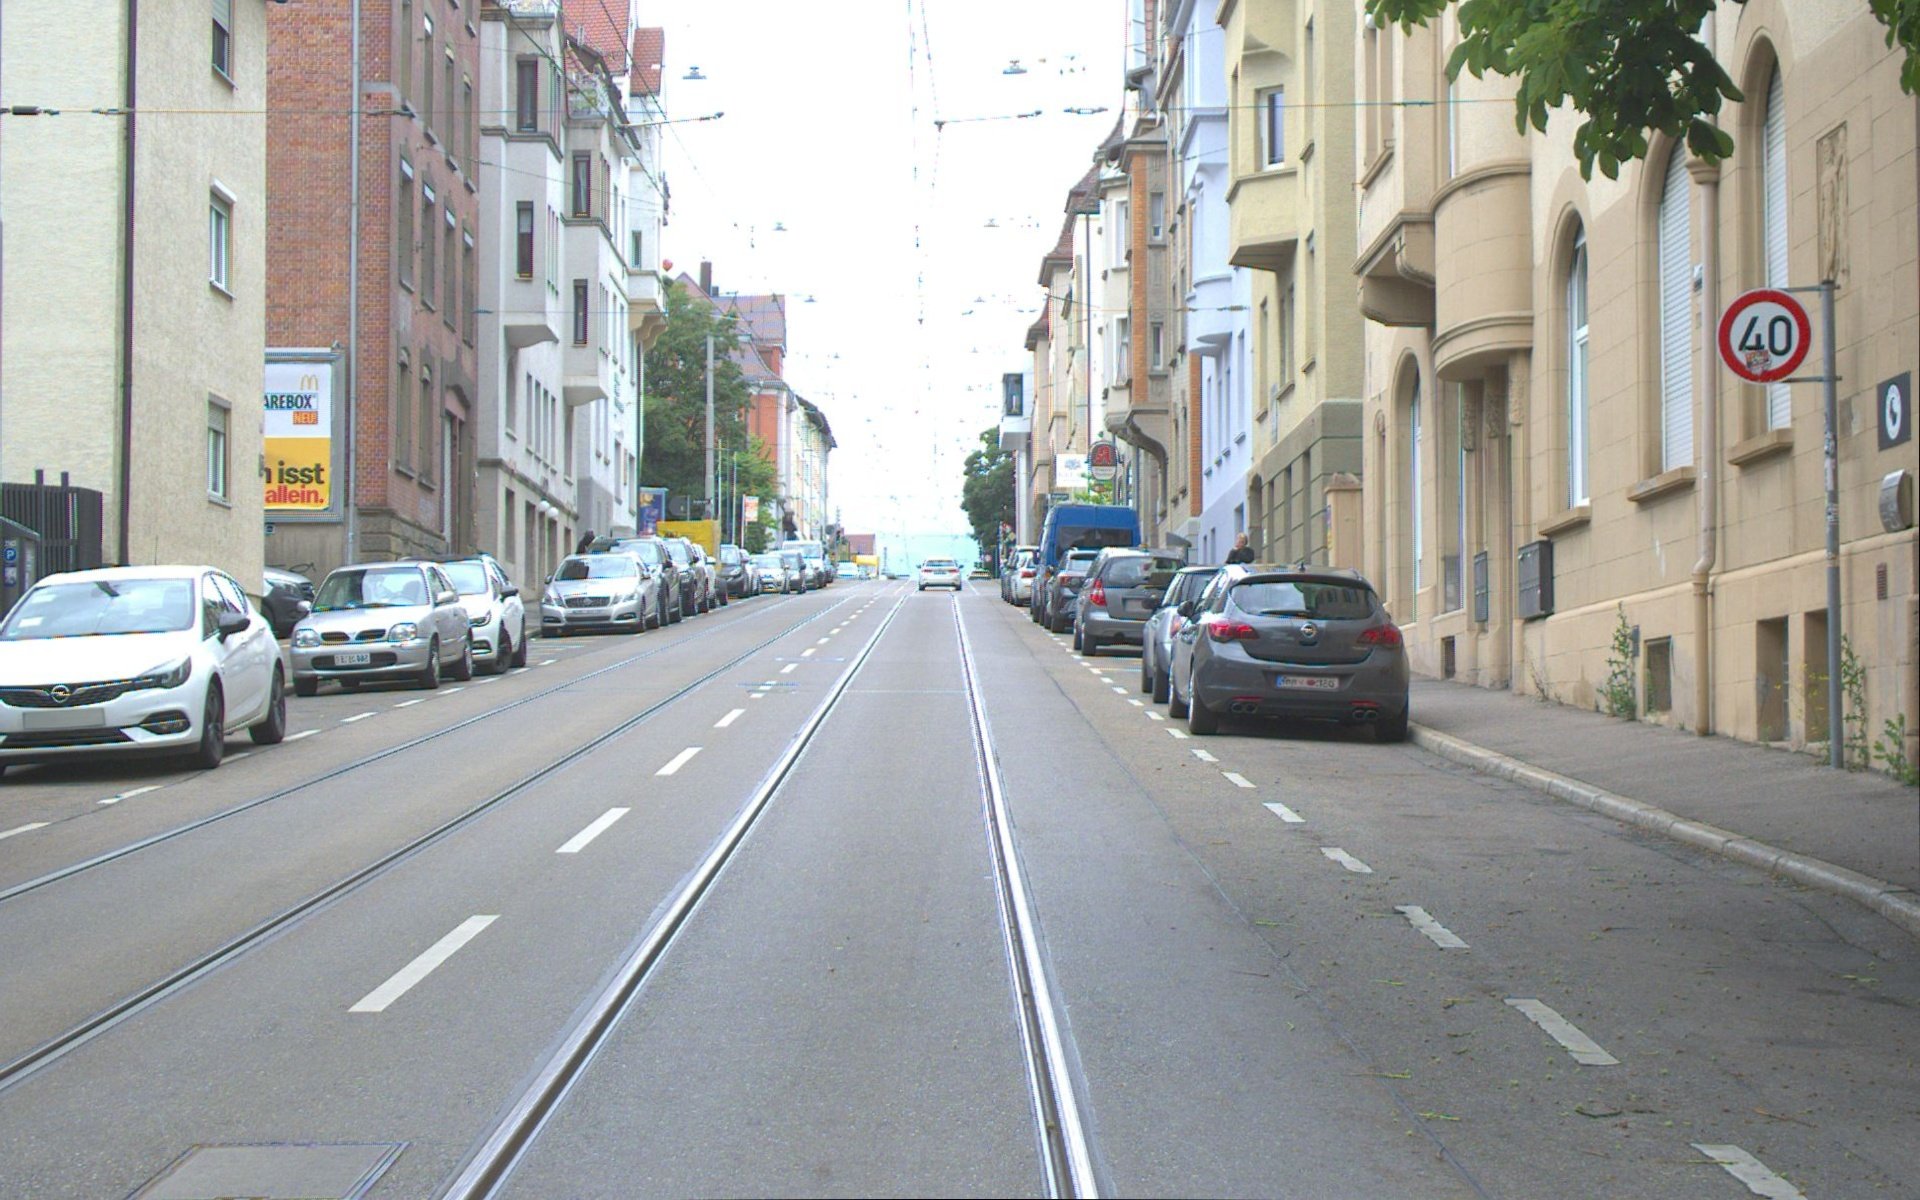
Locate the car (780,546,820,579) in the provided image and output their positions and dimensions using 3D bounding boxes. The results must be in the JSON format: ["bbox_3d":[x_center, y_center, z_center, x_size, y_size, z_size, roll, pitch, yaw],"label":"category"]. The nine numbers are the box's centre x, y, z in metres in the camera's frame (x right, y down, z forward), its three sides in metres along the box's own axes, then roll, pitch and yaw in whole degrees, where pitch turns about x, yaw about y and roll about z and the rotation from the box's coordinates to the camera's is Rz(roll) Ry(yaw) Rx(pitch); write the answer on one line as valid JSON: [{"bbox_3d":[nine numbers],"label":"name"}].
[{"bbox_3d":[-7.215,-1.678,155.781,1.697,1.428,4.482,-2,1,-2],"label":"car"}]

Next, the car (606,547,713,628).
[{"bbox_3d":[-6.648,-0.307,76.524,1.873,1.658,4.892,-2,1,0],"label":"car"}]

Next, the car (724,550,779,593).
[{"bbox_3d":[-7.621,-1.059,126.123,1.697,1.551,3.850,0,0,1],"label":"car"}]

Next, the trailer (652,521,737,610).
[{"bbox_3d":[-6.670,-0.882,86.646,1.748,2.148,4.071,-2,1,0],"label":"trailer"}]

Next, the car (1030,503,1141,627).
[{"bbox_3d":[2.468,-0.674,68.728,1.993,2.368,5.056,1,0,0],"label":"car"}]

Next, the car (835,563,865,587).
[{"bbox_3d":[-7.376,-1.680,230.474,1.855,1.601,4.297,0,0,0],"label":"car"}]

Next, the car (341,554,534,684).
[{"bbox_3d":[-6.501,0.191,43.237,1.827,1.424,4.628,-3,1,-2],"label":"car"}]

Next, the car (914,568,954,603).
[{"bbox_3d":[-1.127,-0.630,148.640,1.672,1.508,3.798,0,1,-1],"label":"car"}]

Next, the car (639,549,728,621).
[{"bbox_3d":[-6.607,-0.382,82.480,1.697,1.588,4.268,-2,1,0],"label":"car"}]

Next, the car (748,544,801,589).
[{"bbox_3d":[-7.385,-1.341,137.297,1.744,1.730,4.519,-2,0,1],"label":"car"}]

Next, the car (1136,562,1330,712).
[{"bbox_3d":[2.796,0.348,35.919,1.695,1.399,3.667,2,1,0],"label":"car"}]

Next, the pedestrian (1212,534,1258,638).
[{"bbox_3d":[4.572,-0.236,57.158,0.540,1.676,0.516,-4,-2,-8],"label":"pedestrian"}]

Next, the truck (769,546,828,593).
[{"bbox_3d":[-7.674,-1.449,164.016,2.280,2.180,8.025,0,0,1],"label":"truck"}]

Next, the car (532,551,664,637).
[{"bbox_3d":[-6.556,-0.141,62.658,1.827,1.424,4.839,-2,1,0],"label":"car"}]

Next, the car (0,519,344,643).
[{"bbox_3d":[-12.816,-0.317,56.176,5.173,1.812,1.941,-2,1,-4],"label":"car"}]

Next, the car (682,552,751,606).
[{"bbox_3d":[-6.961,-0.606,98.388,1.697,1.463,3.023,-2,0,0],"label":"car"}]

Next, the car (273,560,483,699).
[{"bbox_3d":[-6.503,0.295,38.747,1.600,1.363,3.807,-3,1,1],"label":"car"}]

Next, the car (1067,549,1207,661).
[{"bbox_3d":[2.582,0.045,50.976,1.827,1.514,4.028,2,1,0],"label":"car"}]

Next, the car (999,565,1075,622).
[{"bbox_3d":[2.010,-0.187,90.436,1.750,1.386,4.308,2,0,-1],"label":"car"}]

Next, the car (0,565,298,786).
[{"bbox_3d":[-6.167,0.502,25.284,1.719,1.398,4.313,-3,1,0],"label":"car"}]

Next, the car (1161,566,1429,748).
[{"bbox_3d":[2.817,0.453,29.731,1.839,1.398,4.167,2,0,0],"label":"car"}]

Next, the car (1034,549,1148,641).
[{"bbox_3d":[2.380,-0.111,63.243,1.779,1.525,4.192,4,0,-1],"label":"car"}]

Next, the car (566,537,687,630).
[{"bbox_3d":[-6.561,-0.359,68.121,1.827,1.712,4.913,-2,1,0],"label":"car"}]
